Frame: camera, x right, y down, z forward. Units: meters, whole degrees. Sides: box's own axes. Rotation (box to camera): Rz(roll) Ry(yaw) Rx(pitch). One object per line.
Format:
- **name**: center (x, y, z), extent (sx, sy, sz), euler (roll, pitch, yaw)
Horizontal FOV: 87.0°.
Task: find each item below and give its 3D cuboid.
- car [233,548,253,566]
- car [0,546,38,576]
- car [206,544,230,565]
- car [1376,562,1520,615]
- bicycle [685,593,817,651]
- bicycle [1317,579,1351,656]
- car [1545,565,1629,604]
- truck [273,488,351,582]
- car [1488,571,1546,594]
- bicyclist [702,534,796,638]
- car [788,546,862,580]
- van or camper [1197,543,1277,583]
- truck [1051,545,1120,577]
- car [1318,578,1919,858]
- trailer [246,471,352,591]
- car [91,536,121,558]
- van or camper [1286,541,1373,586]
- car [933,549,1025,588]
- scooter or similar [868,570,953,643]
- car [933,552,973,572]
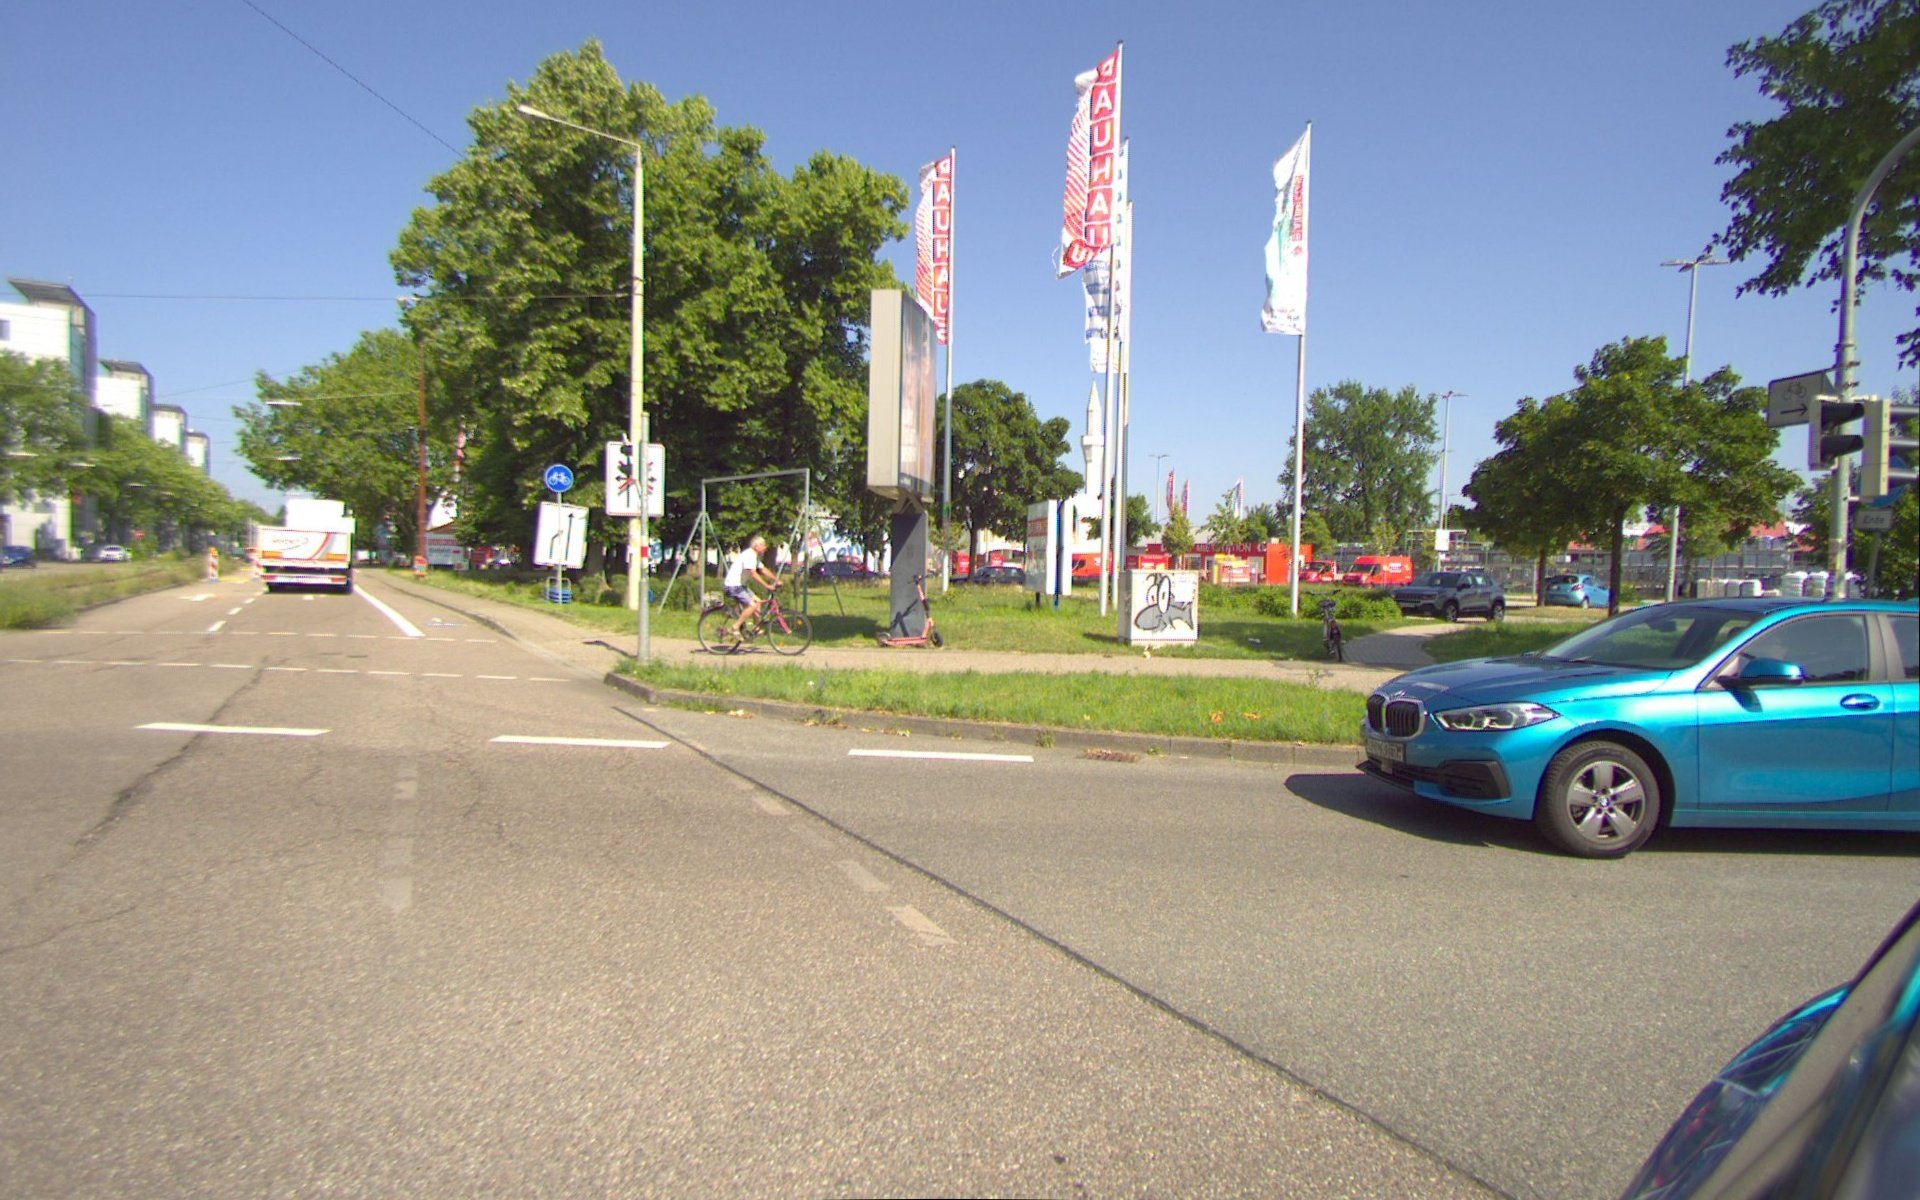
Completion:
- **car**: center (-89.326, -5.343, 126.057), extent (1.962, 2.039, 4.000), euler (0, 0, -35)
- **car**: center (-60.592, -2.472, 64.871), extent (1.964, 1.817, 3.995), euler (1, 0, -40)
- **car**: center (-76.386, -4.671, 104.233), extent (1.963, 2.039, 3.998), euler (0, 0, -36)
- **car**: center (13.991, -0.295, 28.983), extent (3.921, 1.438, 1.907), euler (0, 0, -32)
- **bicycle**: center (-3.119, 0.323, 15.157), extent (1.876, 0.804, 0.533), euler (1, 2, 5)
- **bicycle**: center (6.116, 0.253, 16.580), extent (0.490, 1.153, 1.897), euler (0, 2, 20)
- **car**: center (25.561, -0.601, 41.247), extent (3.418, 1.552, 1.544), euler (0, -1, -32)
- **truck**: center (-28.490, -2.783, 44.643), extent (2.744, 3.874, 5.110), euler (0, 2, -32)
- **car**: center (38.836, -1.205, 70.503), extent (4.307, 1.549, 1.789), euler (0, 0, -34)
- **bicyclist**: center (-3.144, -0.225, 15.154), extent (1.215, 1.495, 0.758), euler (1, 2, 6)
- **car**: center (-7.943, -2.155, 59.568), extent (3.917, 1.861, 2.003), euler (0, 0, -25)
- **van or camper**: center (22.044, -2.878, 80.354), extent (7.147, 2.979, 2.000), euler (0, -1, -34)
- **truck**: center (10.358, -3.180, 83.231), extent (5.670, 2.443, 2.000), euler (0, -1, -34)
- **car**: center (4.581, 0.605, 6.236), extent (4.052, 1.437, 1.874), euler (0, 1, 0)
- **trailer**: center (-24.578, -2.457, 38.080), extent (2.760, 3.819, 11.865), euler (0, 3, -31)
- **car**: center (-88.494, -5.479, 104.895), extent (1.962, 2.039, 4.000), euler (0, 0, -34)
- **van or camper**: center (26.235, -2.545, 71.765), extent (7.147, 2.979, 2.000), euler (0, -1, -34)
- **car**: center (0.895, -1.471, 48.125), extent (3.917, 1.705, 2.003), euler (0, 0, -25)
- **scooter or similar**: center (-0.803, 0.096, 16.557), extent (1.347, 1.162, 0.436), euler (1, 2, 1)
- **car**: center (-0.750, -4.109, 109.489), extent (3.930, 2.039, 1.997), euler (0, -1, -41)
